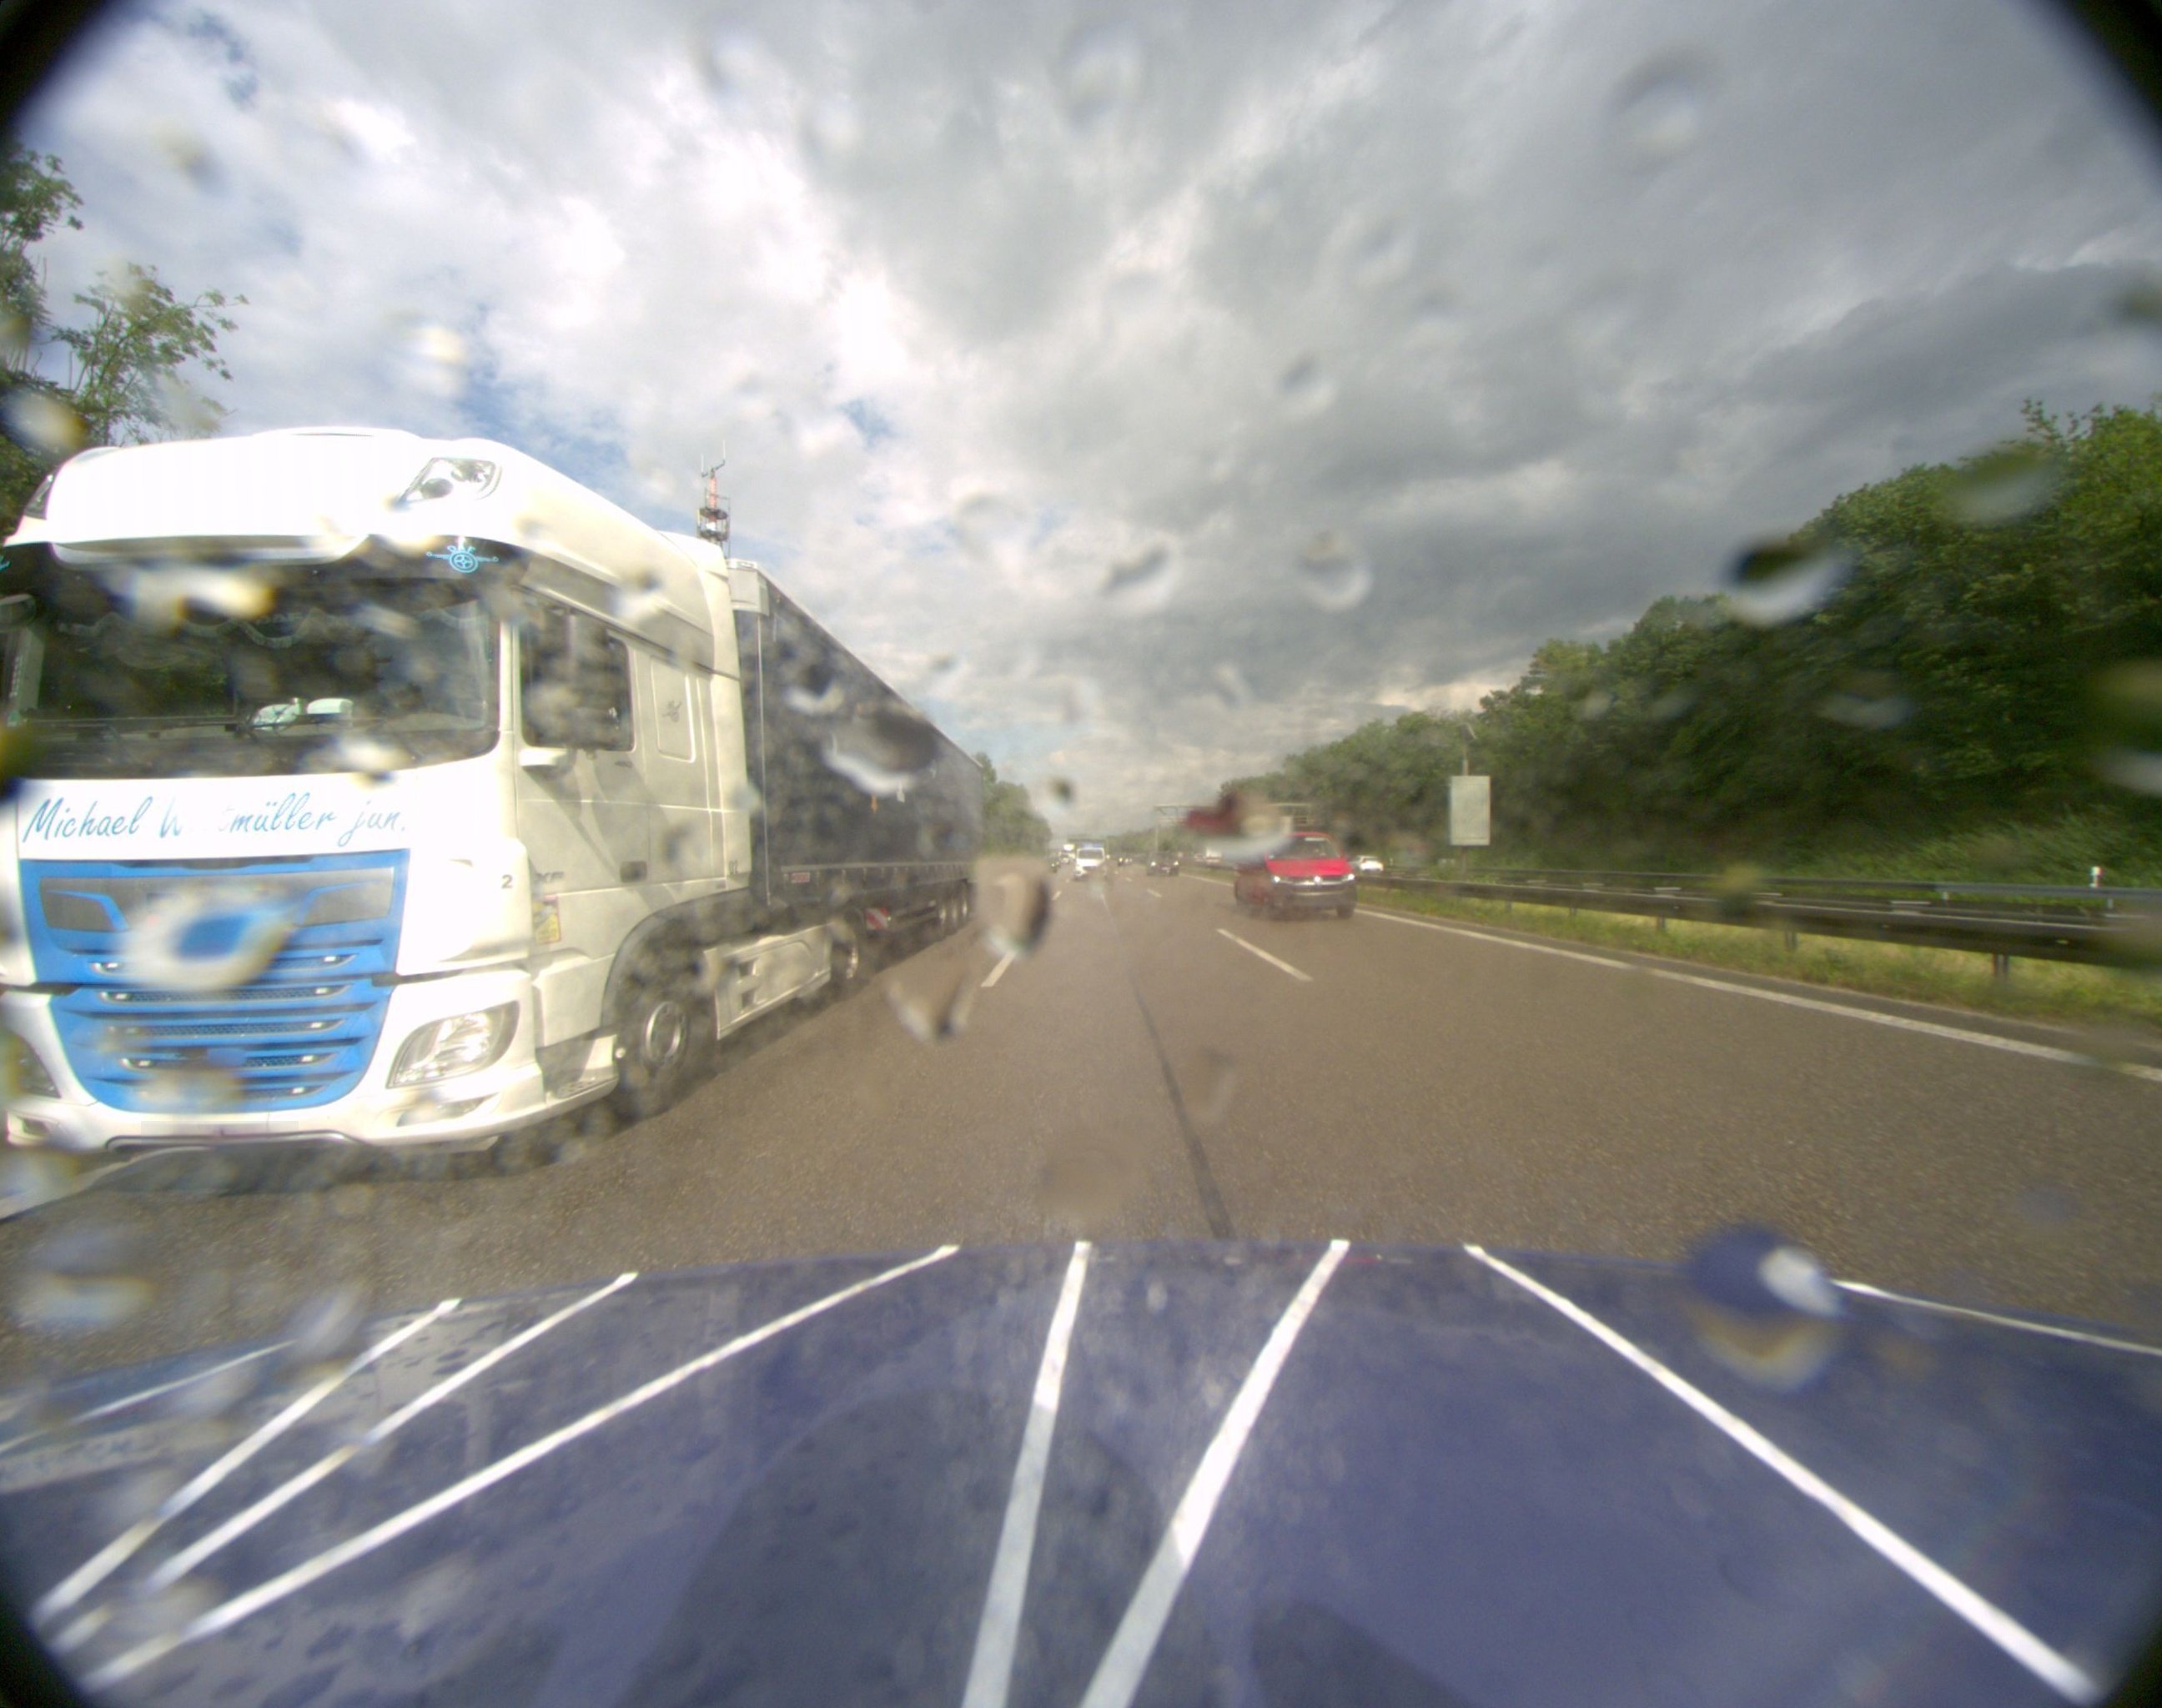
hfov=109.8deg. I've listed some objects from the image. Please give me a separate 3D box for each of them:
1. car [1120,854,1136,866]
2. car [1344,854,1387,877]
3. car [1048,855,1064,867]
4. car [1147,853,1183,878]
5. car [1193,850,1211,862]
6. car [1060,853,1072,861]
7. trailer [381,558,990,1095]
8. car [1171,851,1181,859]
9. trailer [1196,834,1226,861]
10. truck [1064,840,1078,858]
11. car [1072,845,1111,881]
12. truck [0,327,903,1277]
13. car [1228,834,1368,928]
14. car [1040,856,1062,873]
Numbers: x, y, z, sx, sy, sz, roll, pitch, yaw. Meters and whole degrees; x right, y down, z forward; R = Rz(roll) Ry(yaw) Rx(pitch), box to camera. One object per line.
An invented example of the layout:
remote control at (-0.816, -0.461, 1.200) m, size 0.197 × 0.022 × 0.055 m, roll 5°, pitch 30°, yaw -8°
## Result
car at (6.097, 0.761, 99.306) m, size 1.798 × 1.410 × 4.839 m, roll -2°, pitch 0°, yaw 1°
car at (22.186, 0.876, 59.394) m, size 1.736 × 1.653 × 4.235 m, roll -2°, pitch 1°, yaw 0°
car at (-3.179, 0.863, 99.030) m, size 1.798 × 1.410 × 4.839 m, roll -2°, pitch 0°, yaw 1°
car at (5.698, 0.747, 52.135) m, size 2.009 × 1.488 × 4.839 m, roll -2°, pitch 0°, yaw 1°
car at (19.060, 0.296, 119.829) m, size 2.021 × 1.653 × 4.698 m, roll -2°, pitch 1°, yaw 0°
car at (-2.654, 0.512, 132.828) m, size 1.798 × 1.410 × 4.839 m, roll -2°, pitch 0°, yaw 1°
trailer at (-3.821, -0.249, 12.779) m, size 2.641 × 3.972 × 14.063 m, roll -2°, pitch 0°, yaw 0°
car at (22.370, 0.245, 178.362) m, size 1.704 × 1.653 × 4.235 m, roll -2°, pitch 1°, yaw 0°
trailer at (23.094, -1.149, 135.756) m, size 2.870 × 4.347 × 14.090 m, roll -2°, pitch 0°, yaw 0°
truck at (-2.296, -1.134, 173.718) m, size 3.064 × 3.827 × 8.799 m, roll 0°, pitch 0°, yaw 0°
car at (0.663, 0.489, 46.304) m, size 2.124 × 1.988 × 5.982 m, roll -2°, pitch 1°, yaw 1°
truck at (-3.881, -0.215, 6.885) m, size 2.613 × 3.972 × 7.289 m, roll -2°, pitch 1°, yaw 0°
car at (4.892, 0.538, 17.915) m, size 1.926 × 1.855 × 4.839 m, roll -2°, pitch 1°, yaw 1°
car at (-2.882, 0.976, 72.981) m, size 1.798 × 1.410 × 4.839 m, roll -2°, pitch 0°, yaw 1°
